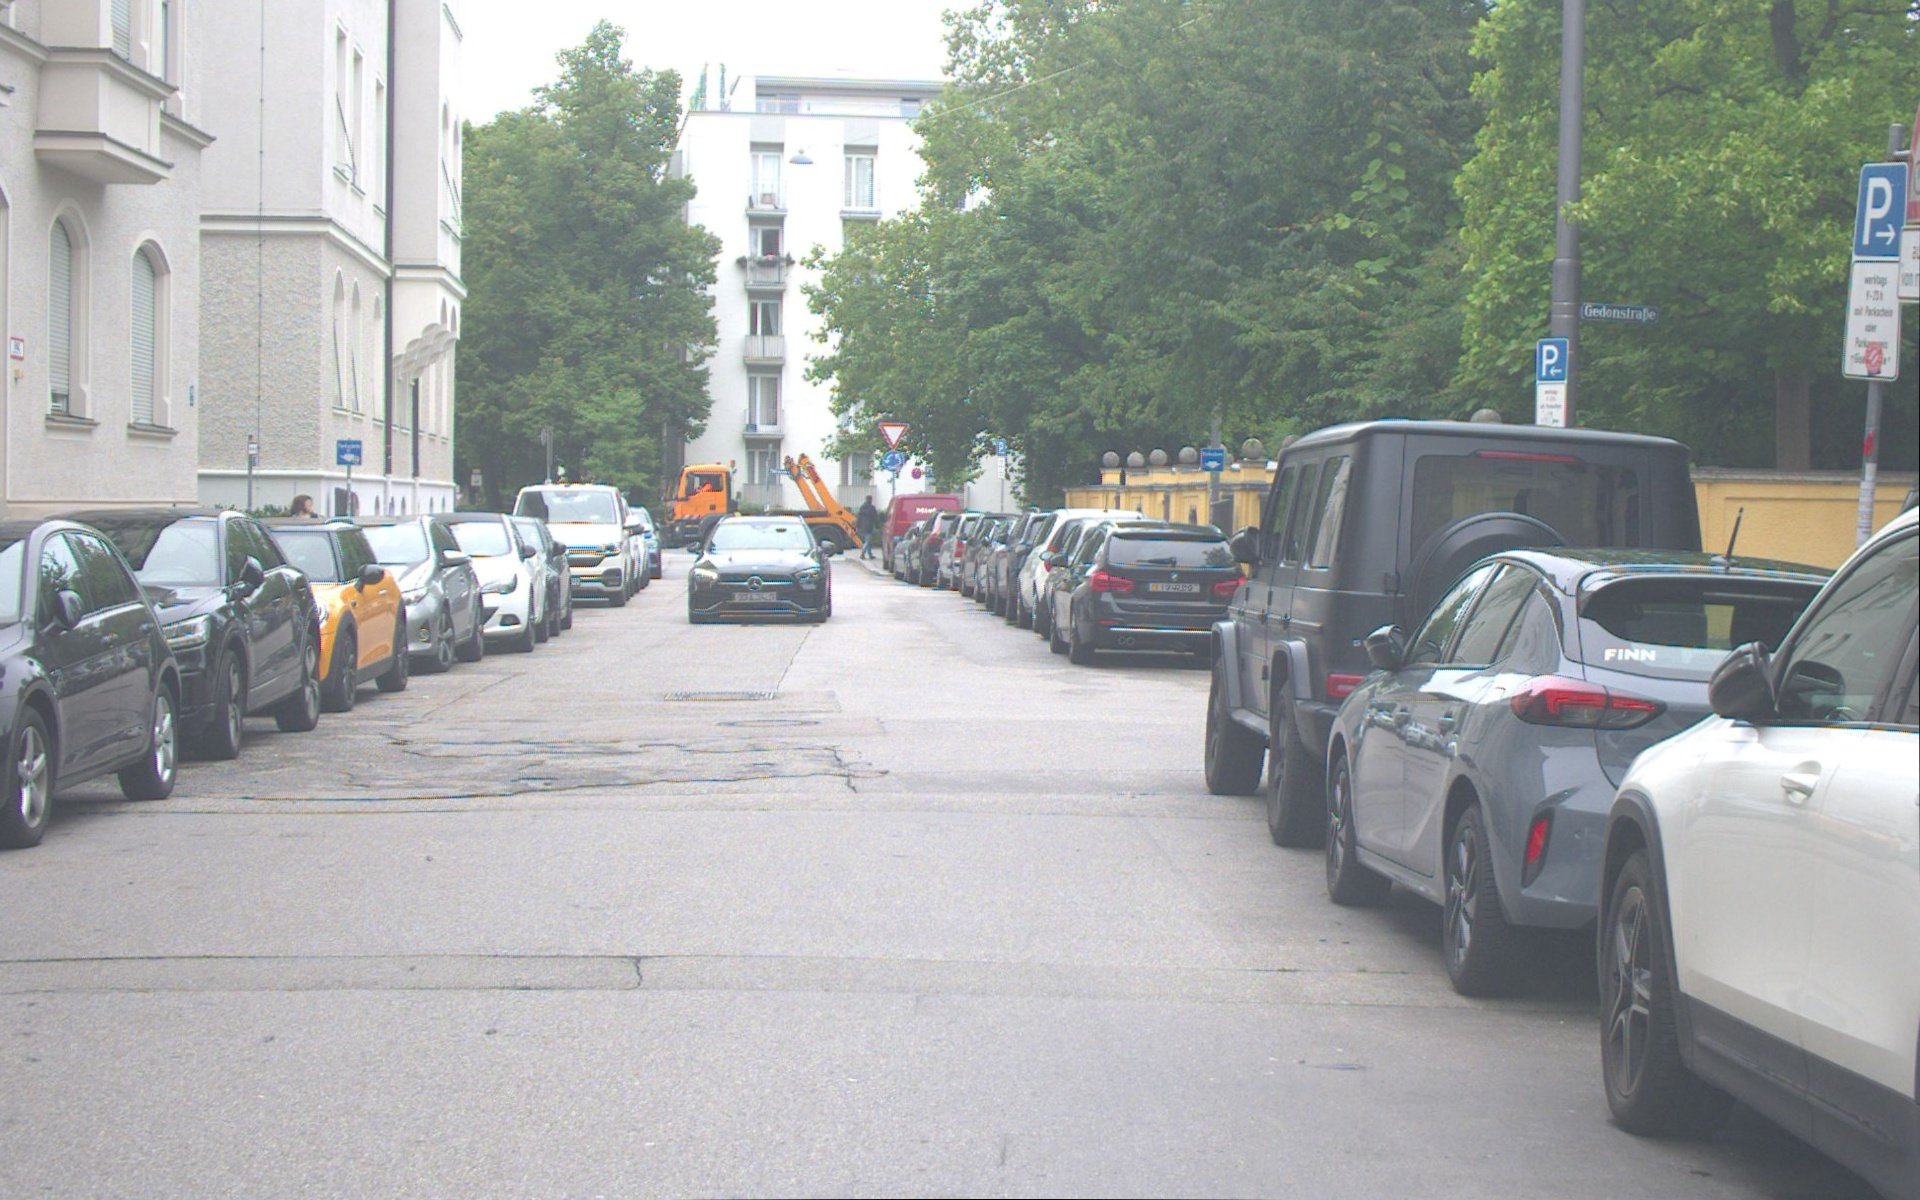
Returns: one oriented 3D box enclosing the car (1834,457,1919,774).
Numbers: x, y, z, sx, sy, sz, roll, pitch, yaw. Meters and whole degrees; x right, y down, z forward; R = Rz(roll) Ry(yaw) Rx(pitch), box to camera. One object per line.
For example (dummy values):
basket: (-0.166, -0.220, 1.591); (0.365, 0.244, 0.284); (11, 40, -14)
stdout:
car: (8.153, 0.089, 22.004); (4.528, 1.943, 1.904); (0, 3, -7)

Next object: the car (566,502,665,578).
car: (-7.904, -1.416, 79.252); (2.015, 1.628, 4.415); (-2, 2, -3)

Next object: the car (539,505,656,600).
car: (-7.086, -0.967, 67.547); (2.015, 1.720, 4.275); (-2, 2, -3)

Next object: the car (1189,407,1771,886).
car: (2.349, 0.100, 16.846); (1.950, 1.947, 4.666); (2, 2, -2)

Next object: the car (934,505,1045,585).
car: (0.555, -1.118, 69.284); (1.838, 1.513, 3.948); (2, 1, -5)

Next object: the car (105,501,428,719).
car: (-5.284, 0.014, 26.667); (1.640, 1.494, 3.972); (-2, 2, 0)

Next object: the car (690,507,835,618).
car: (-2.705, -0.541, 46.990); (1.874, 1.423, 4.410); (1, 1, -3)

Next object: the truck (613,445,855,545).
truck: (-7.616, -3.507, 115.520); (7.668, 3.230, 2.900); (0, 2, -14)

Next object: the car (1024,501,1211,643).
car: (1.784, -0.350, 40.046); (1.652, 1.513, 3.796); (2, 1, -5)

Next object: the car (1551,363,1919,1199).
car: (2.513, 0.495, 7.008); (1.723, 1.763, 4.413); (3, 1, 0)

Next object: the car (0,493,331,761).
car: (-5.178, 0.097, 21.493); (1.753, 1.494, 4.019); (-1, 2, 0)

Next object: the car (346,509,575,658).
car: (-5.327, -0.223, 37.134); (1.836, 1.433, 4.275); (-2, 2, 0)

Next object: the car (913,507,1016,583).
car: (0.070, -1.179, 73.457); (1.838, 1.513, 3.948); (2, 1, -5)

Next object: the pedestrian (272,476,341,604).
pedestrian: (-8.632, -0.796, 45.433); (0.792, 1.673, 0.700); (1, 1, -2)

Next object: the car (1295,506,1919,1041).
car: (2.336, 0.493, 12.012); (1.722, 1.513, 3.631); (3, 1, -3)

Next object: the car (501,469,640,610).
car: (-6.252, -1.017, 55.620); (1.886, 2.120, 4.707); (-2, 2, -3)

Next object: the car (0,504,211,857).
car: (-4.902, 0.307, 16.114); (1.836, 1.431, 4.245); (-2, 2, 0)

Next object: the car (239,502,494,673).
car: (-5.488, -0.150, 32.237); (1.726, 1.494, 3.930); (-1, 1, 0)

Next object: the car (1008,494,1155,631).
car: (1.549, -0.498, 44.772); (1.513, 1.655, 3.675); (2, 1, -3)

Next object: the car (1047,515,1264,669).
car: (1.926, -0.109, 35.040); (1.838, 1.408, 4.343); (2, 1, -1)

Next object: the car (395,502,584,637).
car: (-5.679, -0.413, 41.945); (1.836, 1.494, 4.275); (-2, 2, -2)

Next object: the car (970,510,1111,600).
car: (1.263, -0.734, 55.526); (1.838, 1.341, 3.948); (2, 1, -5)

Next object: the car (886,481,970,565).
car: (-0.768, -1.921, 85.163); (1.836, 1.920, 4.005); (4, 2, 1)
